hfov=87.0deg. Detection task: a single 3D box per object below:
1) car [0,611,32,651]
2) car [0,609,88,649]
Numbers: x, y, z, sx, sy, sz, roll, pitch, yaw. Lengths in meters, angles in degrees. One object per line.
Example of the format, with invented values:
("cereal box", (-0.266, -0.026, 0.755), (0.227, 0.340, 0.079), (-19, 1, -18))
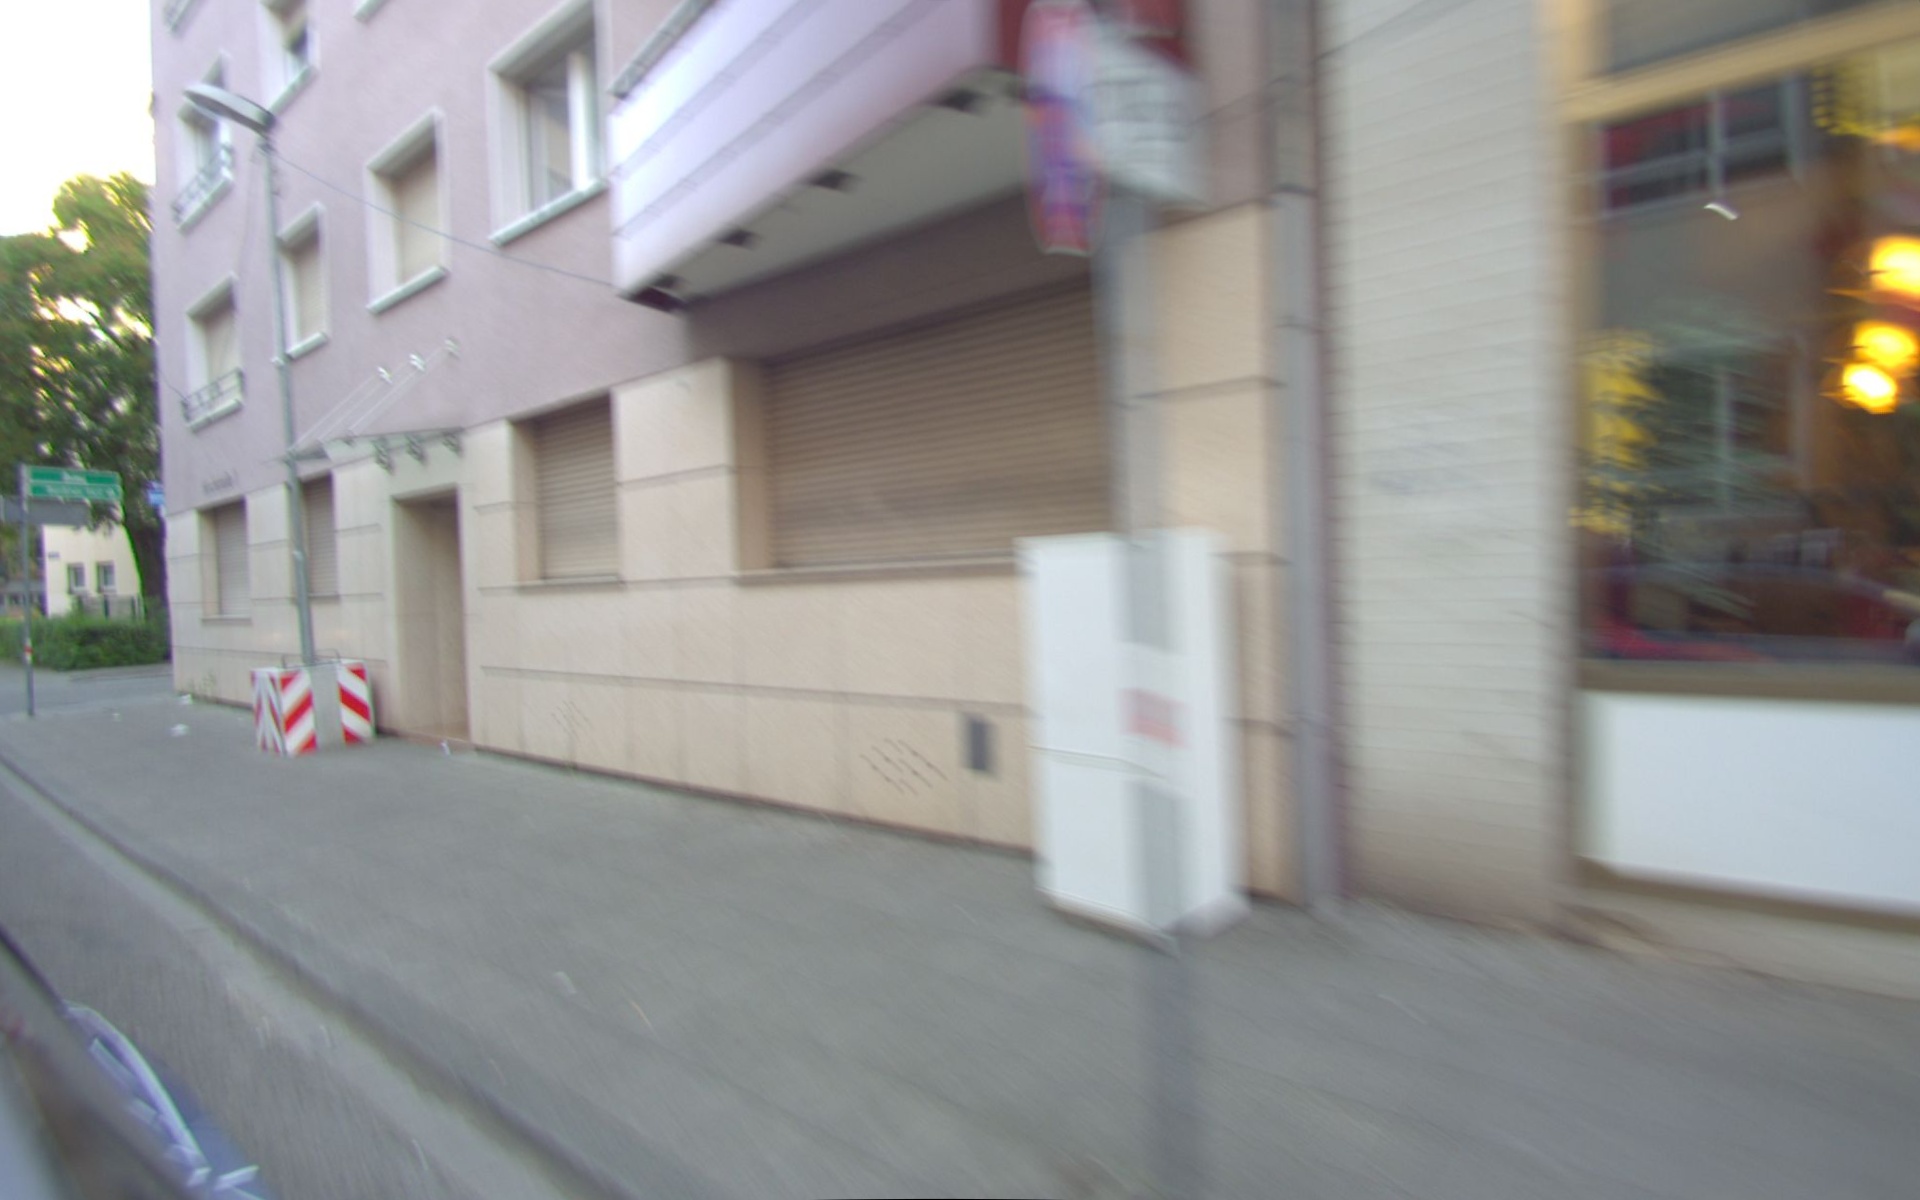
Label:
("car", (-52.563, 1.638, 54.370), (4.294, 2.092, 2.215), (1, 0, 19))
("car", (-51.450, 1.609, 56.620), (4.294, 2.092, 2.215), (1, 0, 19))
